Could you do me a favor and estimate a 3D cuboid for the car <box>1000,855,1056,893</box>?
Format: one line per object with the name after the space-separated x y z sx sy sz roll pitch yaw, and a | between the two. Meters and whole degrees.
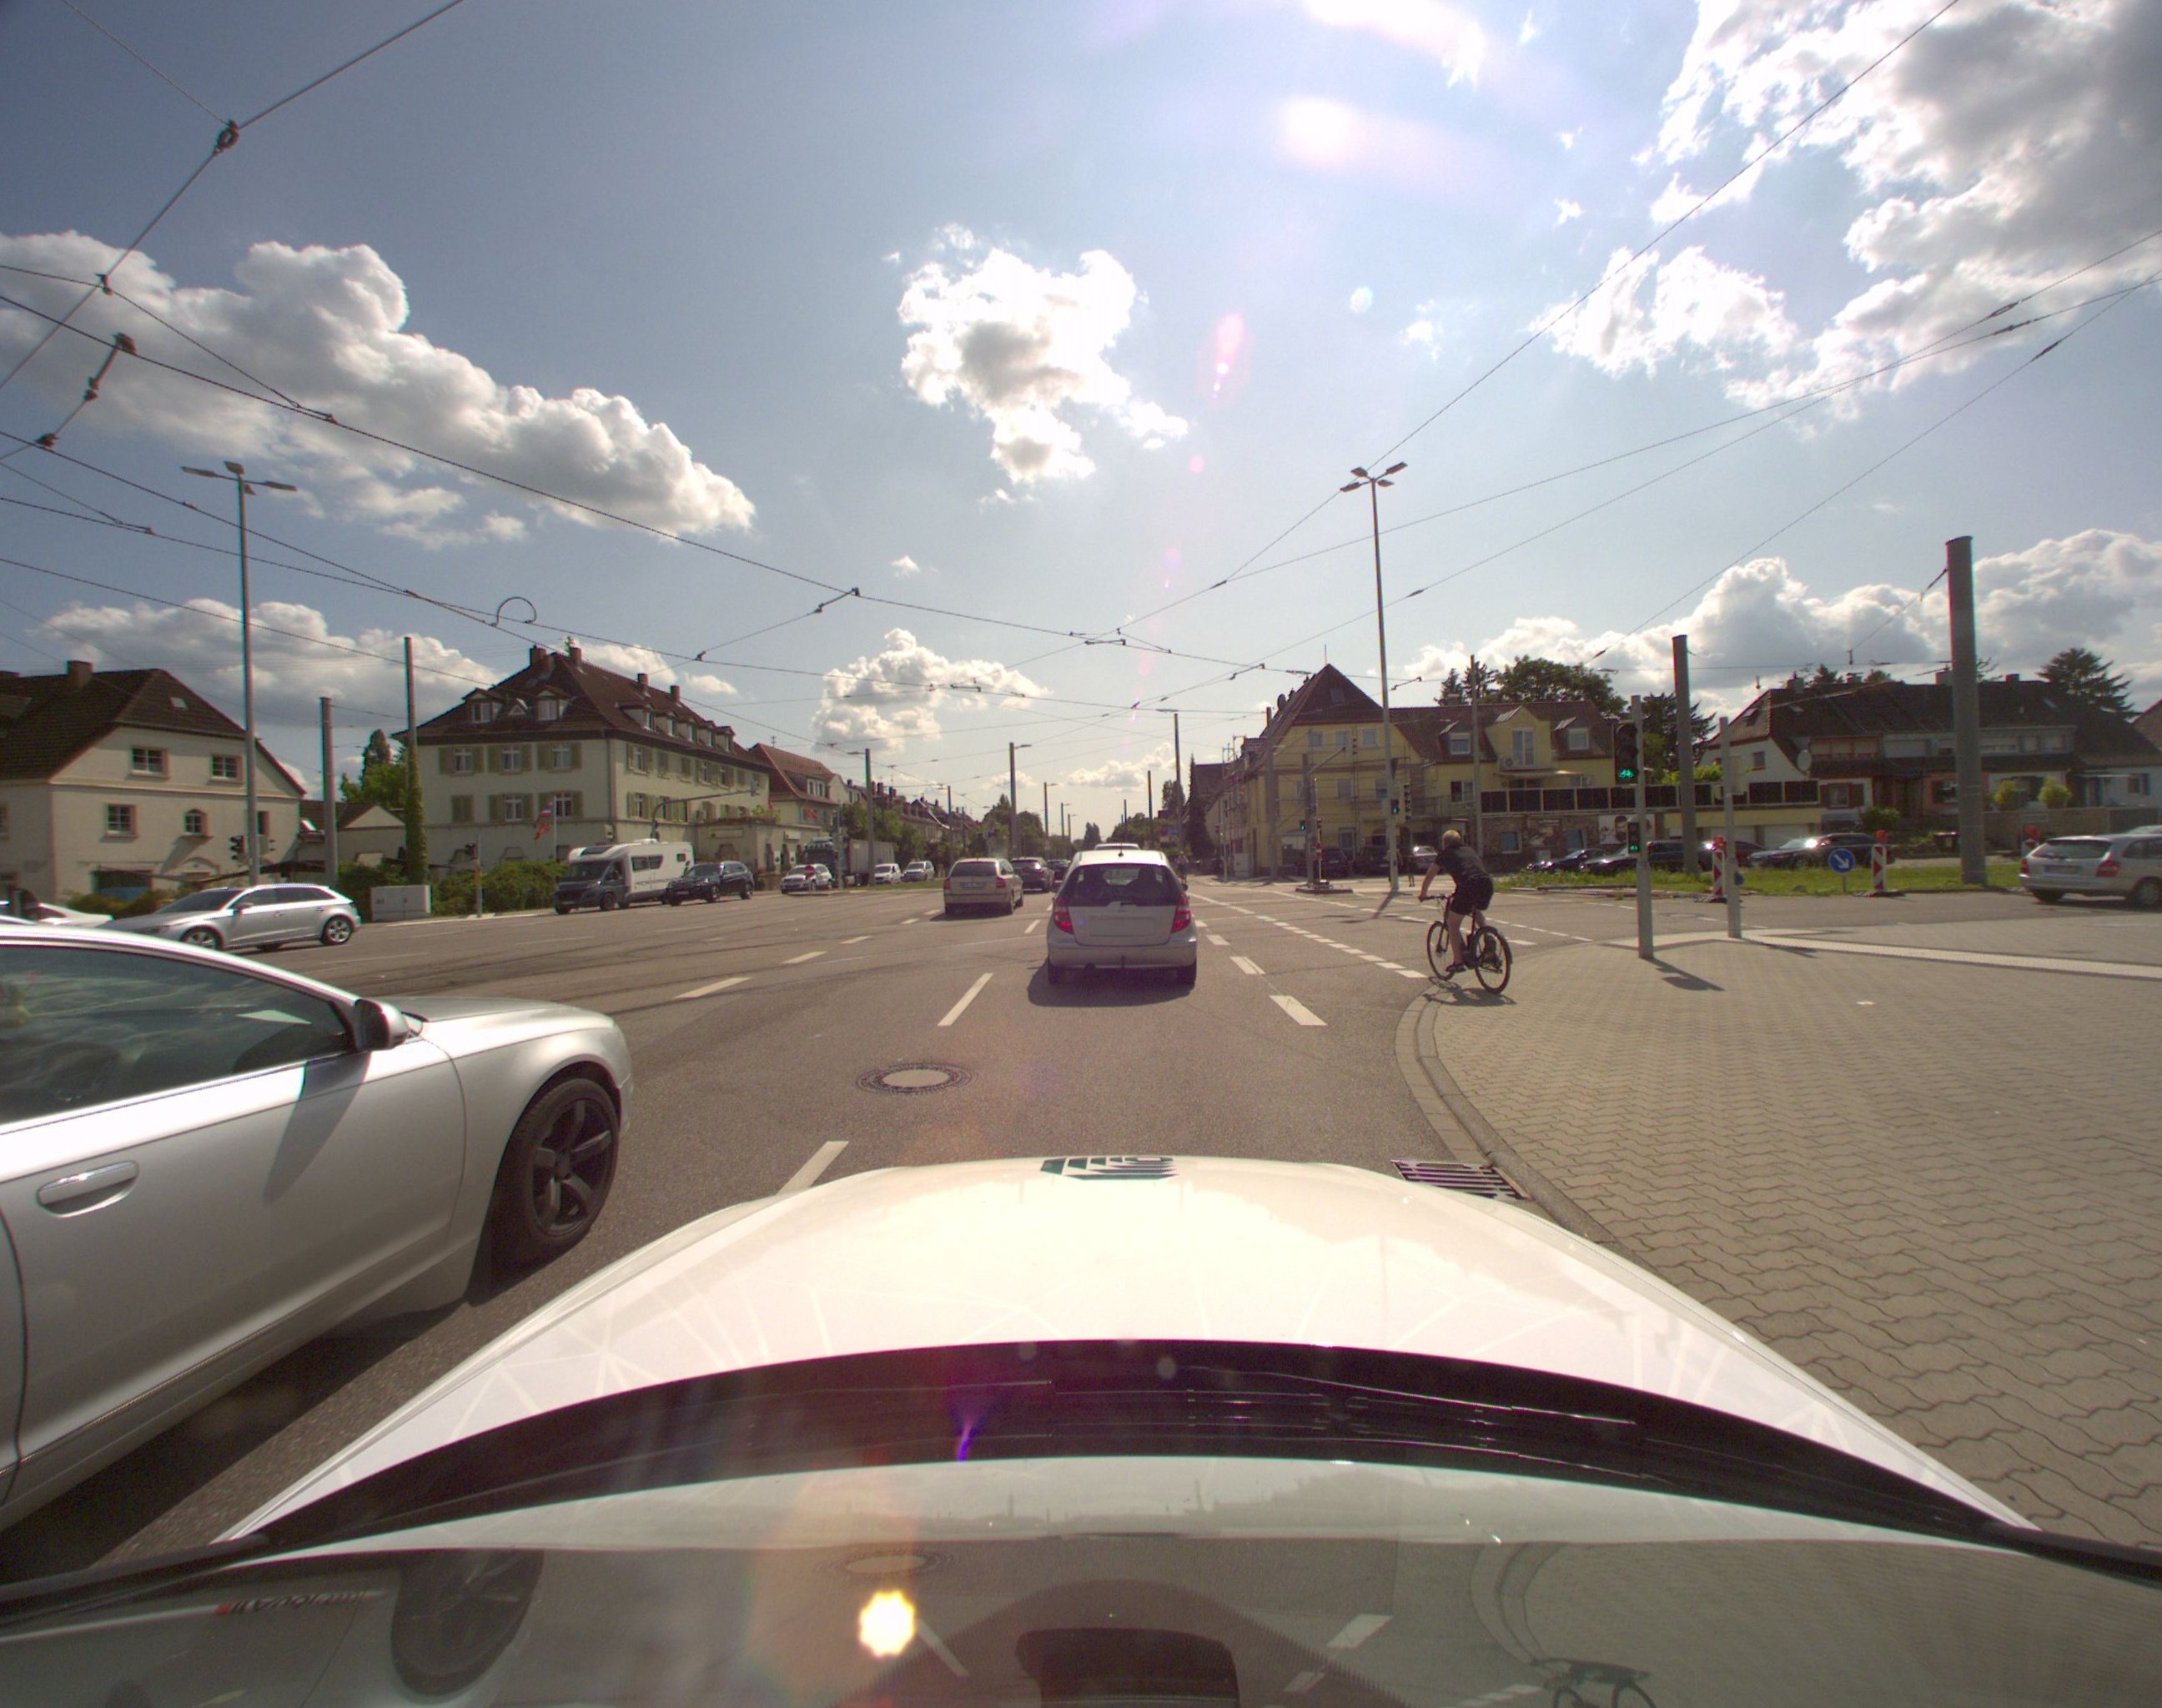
-2.170 0.834 34.432 1.909 1.477 4.563 -1 -1 2 | car

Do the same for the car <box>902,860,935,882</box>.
-14.608 1.514 73.444 1.788 1.815 4.714 -3 -1 2 | car

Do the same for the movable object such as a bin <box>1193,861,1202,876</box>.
7.749 0.968 54.263 0.509 0.918 0.742 -2 -1 2 | movable object such as a bin

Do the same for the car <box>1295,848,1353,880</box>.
12.861 0.543 43.376 1.986 1.596 4.133 -1 -1 2 | car

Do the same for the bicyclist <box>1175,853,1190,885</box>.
5.695 0.828 45.669 0.649 1.738 0.982 0 -1 -5 | bicyclist

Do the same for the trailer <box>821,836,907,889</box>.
-17.736 0.577 67.816 2.587 3.821 12.851 -4 0 4 | trailer

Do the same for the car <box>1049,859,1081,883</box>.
-0.958 1.047 50.244 1.846 1.388 4.513 -1 -1 0 | car

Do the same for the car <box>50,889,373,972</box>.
-17.350 1.453 16.637 1.986 1.352 4.180 -1 -1 2 | car

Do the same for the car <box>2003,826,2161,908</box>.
21.455 0.204 16.375 3.993 1.403 1.735 -2 3 -2 | car

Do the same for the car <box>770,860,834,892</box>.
-15.916 1.235 46.688 1.986 1.552 4.180 -5 -1 2 | car

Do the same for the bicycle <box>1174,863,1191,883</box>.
5.693 1.077 45.717 0.649 1.117 1.585 0 -1 -5 | bicycle

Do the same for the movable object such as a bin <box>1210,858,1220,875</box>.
8.955 0.813 54.342 0.509 1.105 0.855 -2 -1 2 | movable object such as a bin

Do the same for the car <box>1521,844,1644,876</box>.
21.627 0.256 35.236 4.303 1.308 1.738 -1 -1 -2 | car

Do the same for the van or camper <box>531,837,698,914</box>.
-19.931 0.857 35.472 2.314 2.930 7.761 -2 0 3 | van or camper

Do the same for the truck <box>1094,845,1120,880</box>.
1.984 0.686 64.055 1.846 2.552 5.854 -1 -1 0 | truck

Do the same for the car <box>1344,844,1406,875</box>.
15.724 0.307 43.833 1.986 1.596 4.133 -1 -1 2 | car

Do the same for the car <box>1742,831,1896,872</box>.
28.032 -0.080 31.004 4.303 1.328 1.738 -3 -1 -2 | car

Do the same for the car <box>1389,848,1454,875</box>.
18.138 0.395 43.532 1.860 1.351 4.133 -1 -1 2 | car

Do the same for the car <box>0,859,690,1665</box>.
-2.909 0.788 1.701 1.788 1.472 4.723 -2 0 1 | car

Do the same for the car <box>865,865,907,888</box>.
-14.950 1.682 62.565 1.787 1.637 4.475 -3 -1 4 | car

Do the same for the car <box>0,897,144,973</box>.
-21.027 1.563 15.311 1.677 1.352 4.347 -1 -1 2 | car

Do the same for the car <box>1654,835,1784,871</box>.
27.587 -0.014 35.284 4.303 1.474 1.738 -1 -1 -2 | car

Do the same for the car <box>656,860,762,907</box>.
-15.963 1.204 35.294 1.984 1.776 4.884 -4 0 4 | car

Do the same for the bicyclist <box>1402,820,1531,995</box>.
4.274 0.560 9.118 0.826 1.794 1.083 -3 0 -1 | bicyclist

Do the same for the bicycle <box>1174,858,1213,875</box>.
8.351 0.916 60.441 2.716 1.120 0.691 -3 -1 1 | bicycle

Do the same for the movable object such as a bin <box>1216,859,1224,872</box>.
10.268 0.855 60.085 0.466 0.947 0.558 -2 -1 1 | movable object such as a bin

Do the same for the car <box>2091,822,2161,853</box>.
52.637 -0.810 39.883 4.303 1.474 1.738 -1 -1 -2 | car

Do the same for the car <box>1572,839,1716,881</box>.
21.439 0.236 31.126 4.303 1.328 1.738 -3 -1 -2 | car

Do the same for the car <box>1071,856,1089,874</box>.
-0.103 1.152 86.228 1.846 1.843 3.918 -1 -1 0 | car

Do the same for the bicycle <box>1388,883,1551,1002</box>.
4.289 0.928 9.189 0.826 1.075 1.970 -3 0 -1 | bicycle

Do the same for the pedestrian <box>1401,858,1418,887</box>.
12.898 0.733 31.978 0.486 1.136 0.389 -1 -1 2 | pedestrian

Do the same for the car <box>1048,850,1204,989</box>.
0.496 0.714 11.055 1.724 1.517 4.016 -1 0 0 | car

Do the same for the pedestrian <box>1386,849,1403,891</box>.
12.312 0.623 31.987 0.544 1.643 0.402 -1 -1 6 | pedestrian

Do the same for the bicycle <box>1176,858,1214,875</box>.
8.351 0.896 59.690 2.652 1.105 0.786 -3 -1 1 | bicycle

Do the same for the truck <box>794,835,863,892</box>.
-18.351 0.627 59.509 2.587 3.821 5.674 -4 0 5 | truck

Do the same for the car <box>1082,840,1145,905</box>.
1.009 0.542 24.527 1.723 1.762 4.019 -1 -1 3 | car

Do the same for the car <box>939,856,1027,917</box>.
-2.536 0.809 21.965 1.724 1.449 4.125 -1 0 2 | car
